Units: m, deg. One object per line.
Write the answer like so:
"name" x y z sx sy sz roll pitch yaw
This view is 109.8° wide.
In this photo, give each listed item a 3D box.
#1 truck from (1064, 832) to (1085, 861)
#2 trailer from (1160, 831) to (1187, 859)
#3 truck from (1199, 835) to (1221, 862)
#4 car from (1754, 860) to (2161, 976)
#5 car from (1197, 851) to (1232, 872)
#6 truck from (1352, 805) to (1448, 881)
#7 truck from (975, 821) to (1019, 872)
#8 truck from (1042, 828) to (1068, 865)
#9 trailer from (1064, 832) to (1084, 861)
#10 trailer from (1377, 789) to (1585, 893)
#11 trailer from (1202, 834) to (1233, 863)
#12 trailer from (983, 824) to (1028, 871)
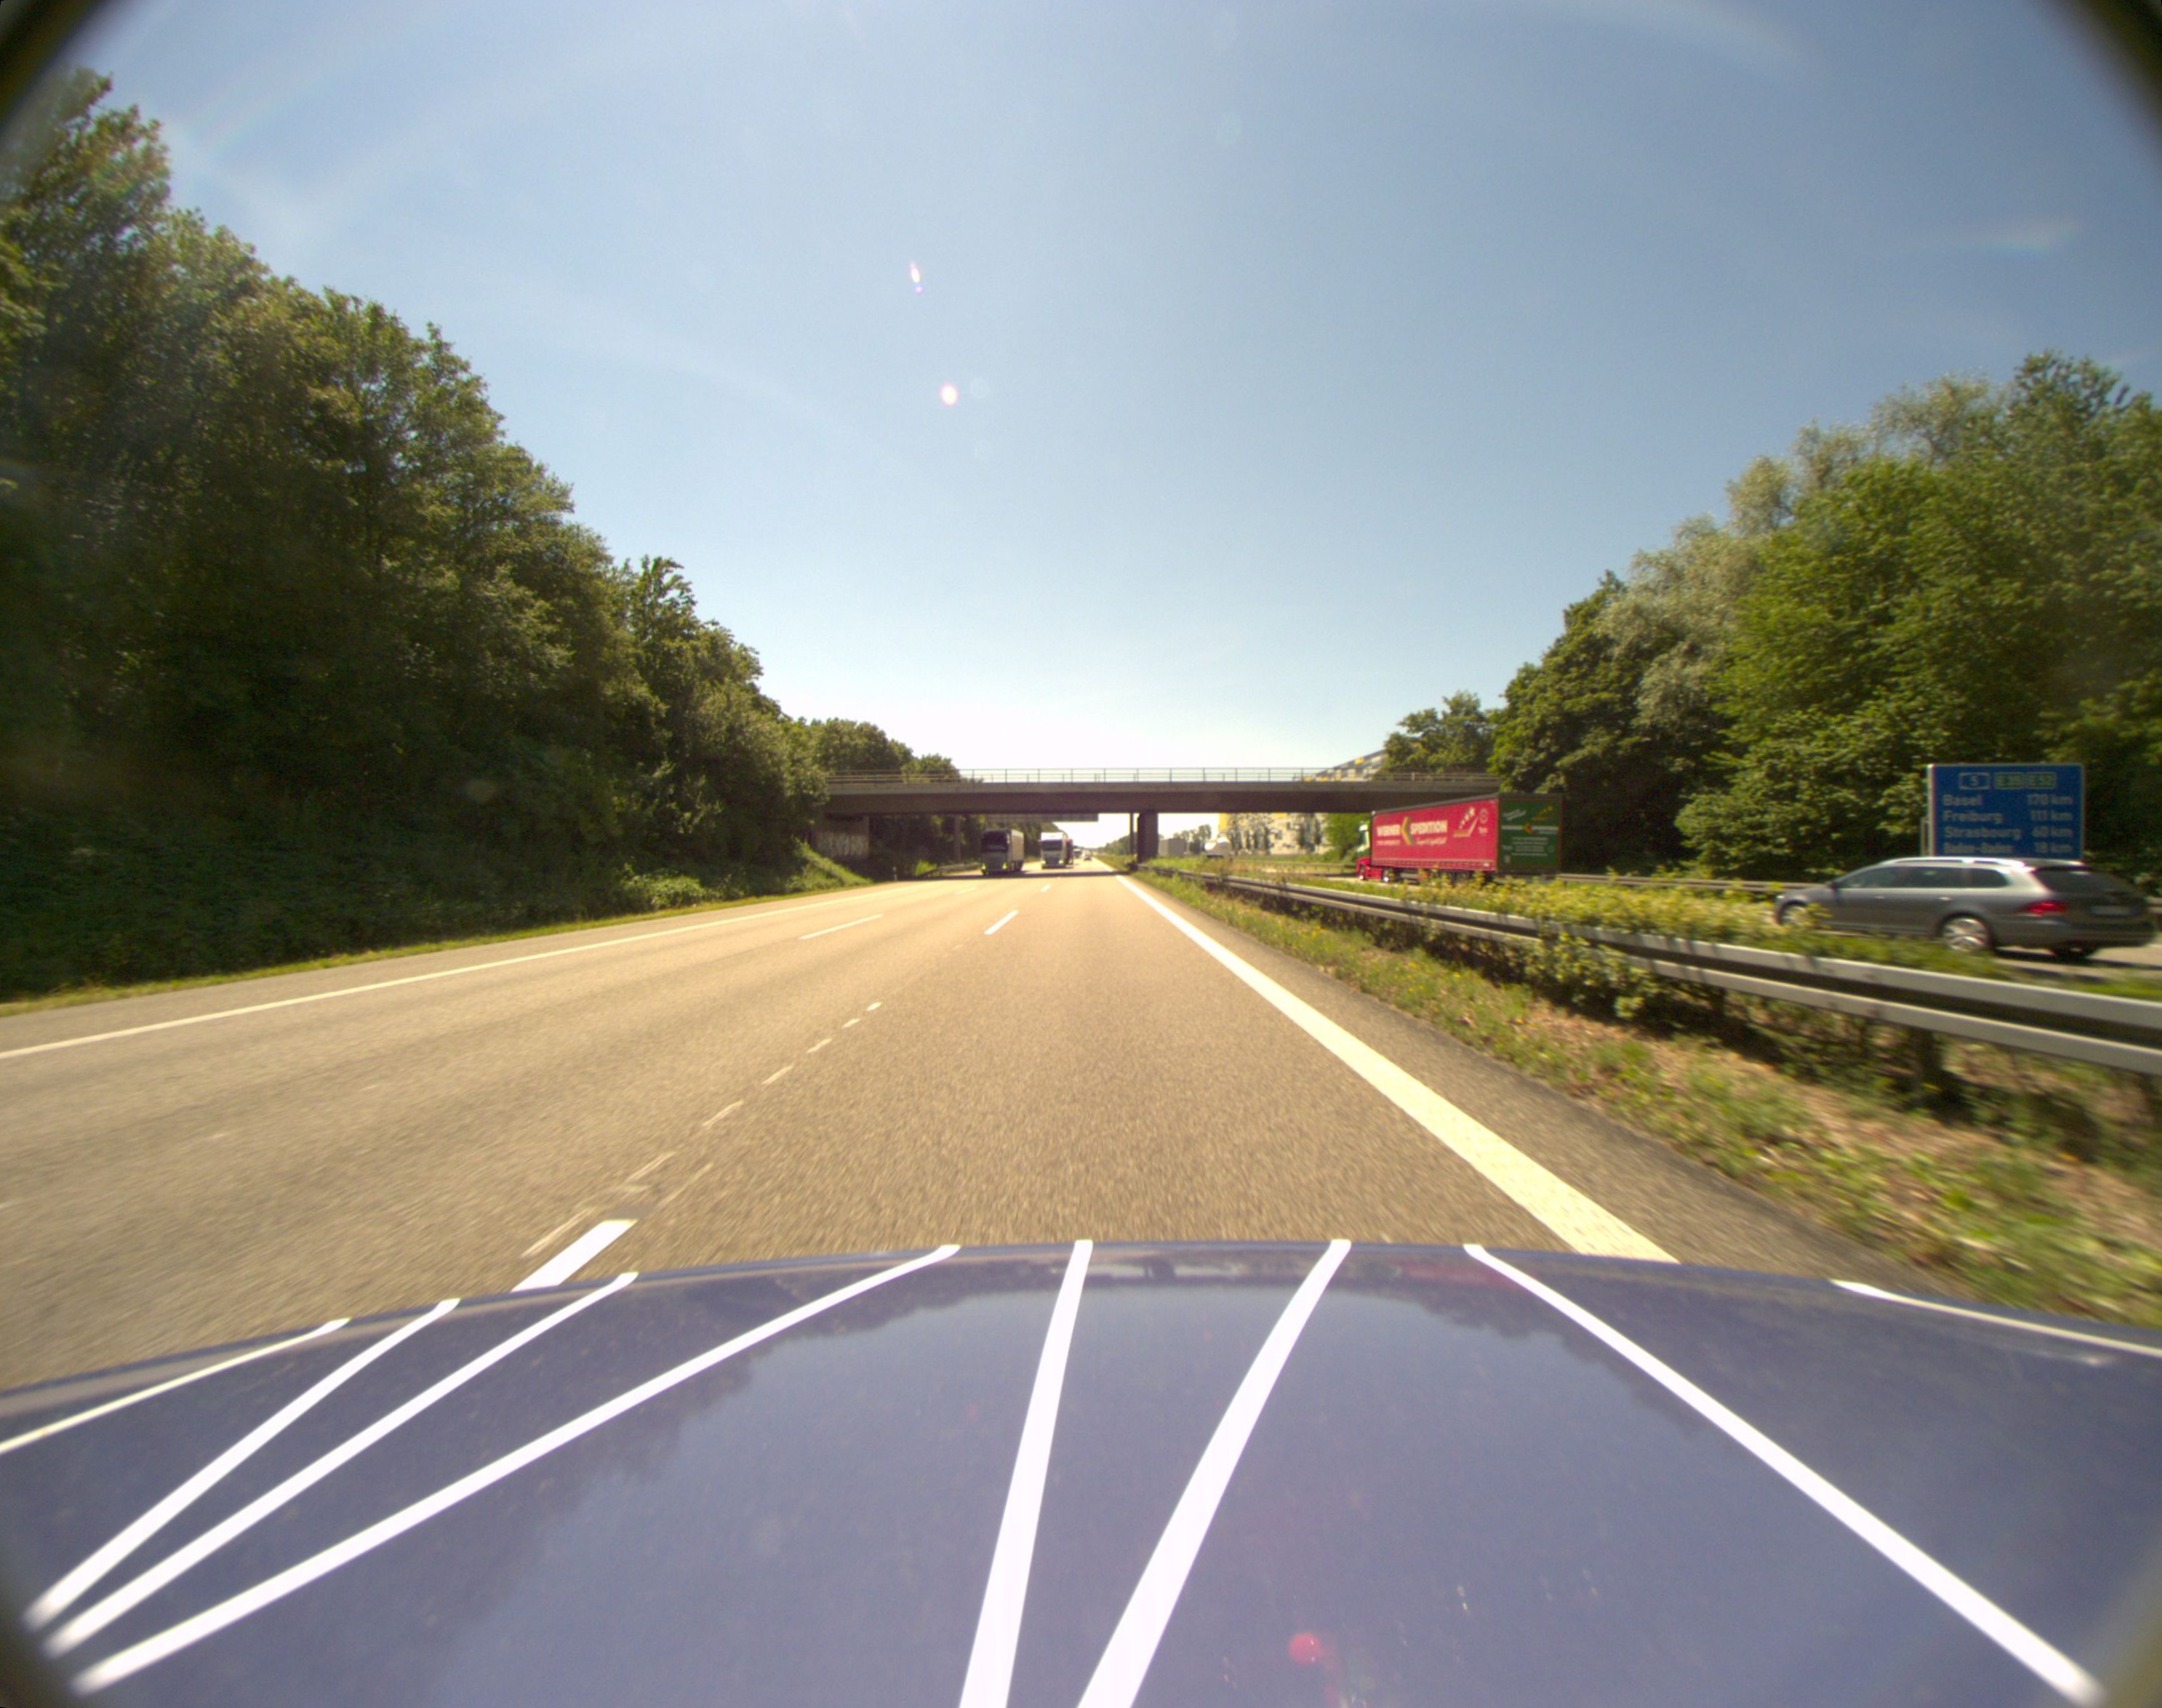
"truck" -1.008 -1.099 111.366 2.870 4.046 5.770 -2 0 -1
"trailer" 14.931 -1.382 123.422 2.836 4.200 13.835 1 0 1
"truck" 19.044 -0.798 112.413 2.365 3.753 5.251 1 0 1
"car" 13.984 0.856 12.283 1.853 1.442 4.871 0 0 0
"car" 9.680 0.518 55.459 1.672 1.503 4.518 0 0 -1
"truck" 18.210 -0.619 43.805 3.225 4.036 5.617 -1 1 0
"truck" -7.376 -0.646 67.626 3.055 4.190 6.048 -2 0 0
"truck" -2.954 -0.843 87.001 2.684 4.046 6.048 -2 0 0
"trailer" -1.159 -1.122 118.323 2.886 4.046 13.833 -2 0 -1
"trailer" 18.165 -0.546 36.149 3.225 4.035 12.740 -1 1 0
"trailer" 18.960 -0.774 106.266 2.364 3.772 12.074 1 0 1
"trailer" -7.377 -0.649 76.194 3.047 4.200 13.834 -2 0 0
